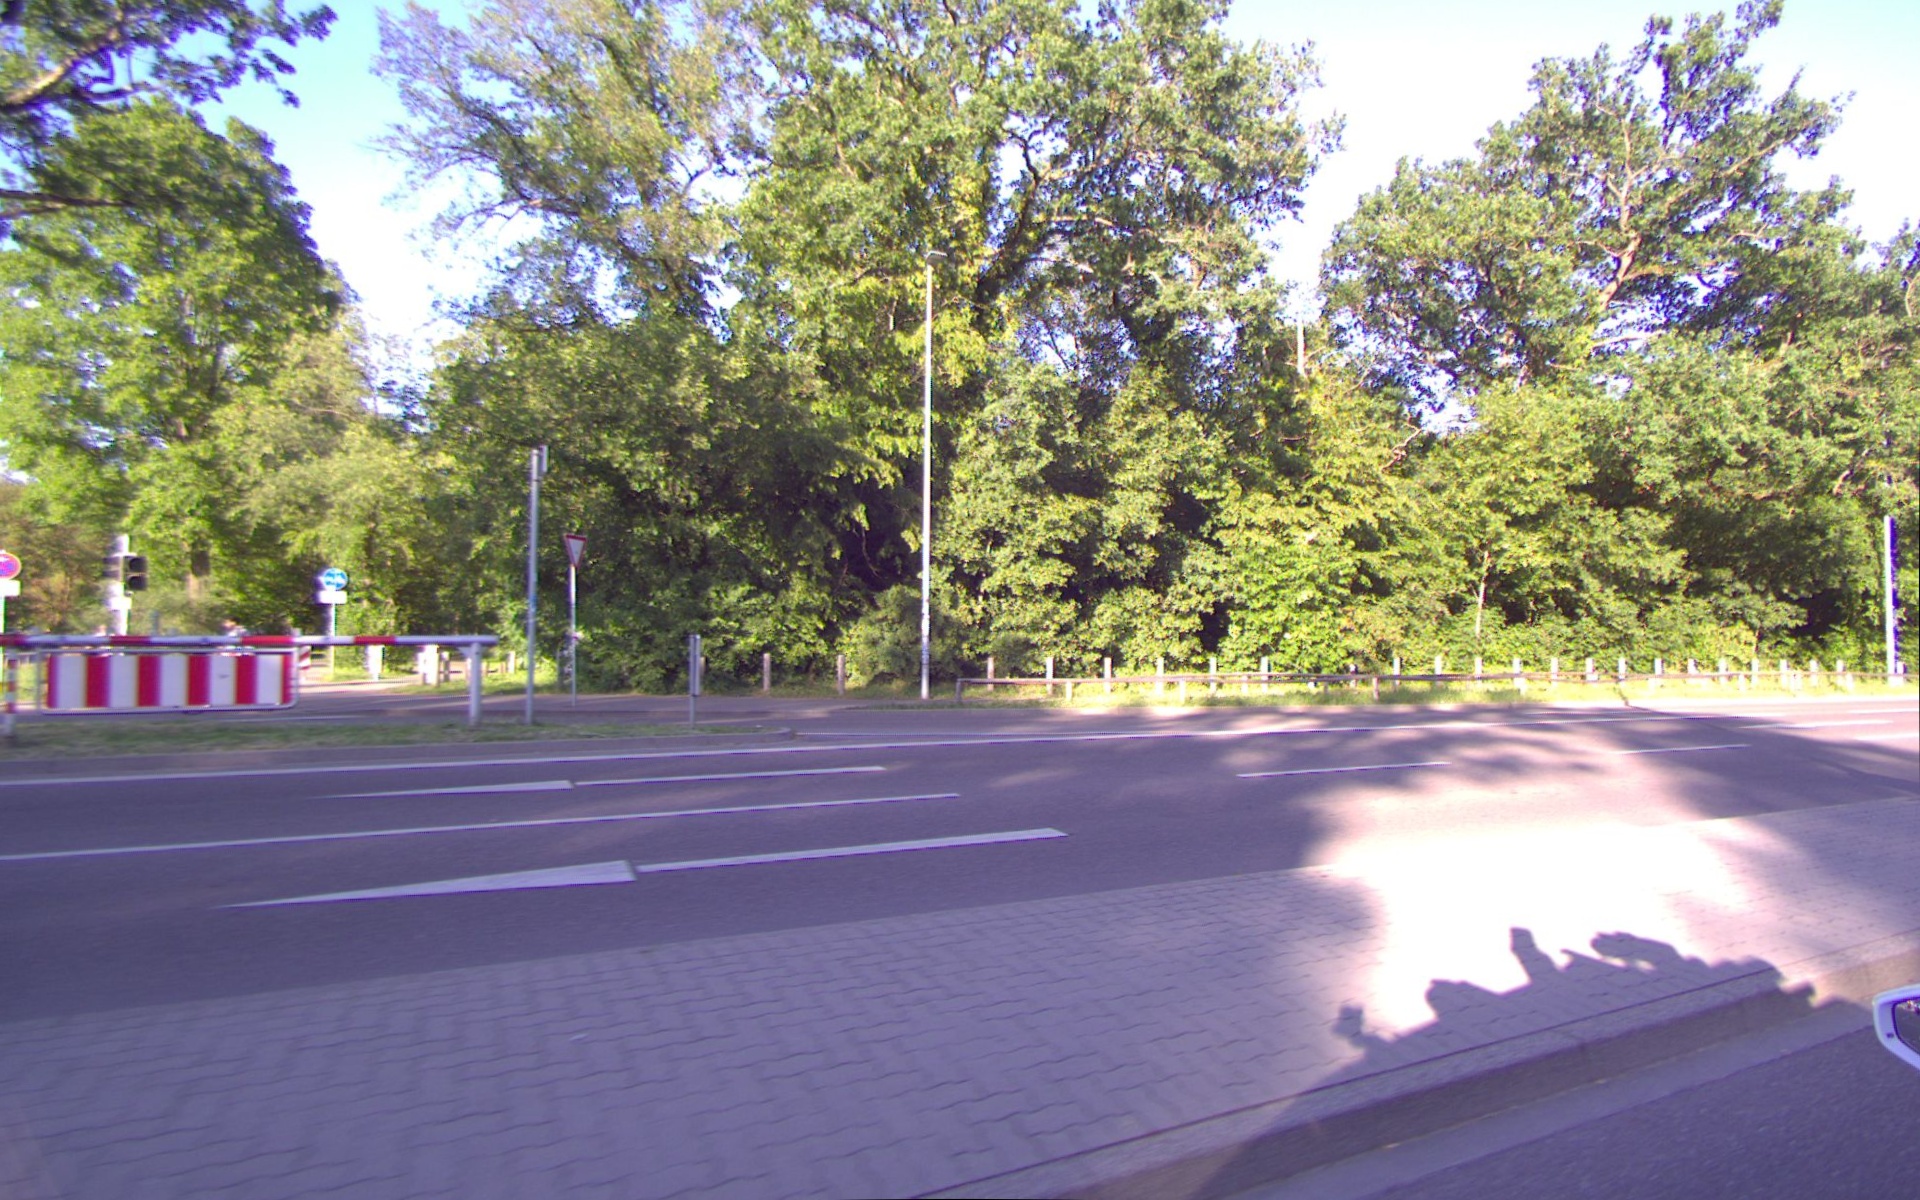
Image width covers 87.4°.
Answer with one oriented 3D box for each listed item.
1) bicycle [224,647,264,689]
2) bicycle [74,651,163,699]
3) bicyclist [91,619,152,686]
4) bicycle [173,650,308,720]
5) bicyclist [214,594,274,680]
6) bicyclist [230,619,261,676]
[{"bbox_3d":[-17.979,1.698,25.244,0.515,0.990,1.348,2,-1,-23],"label":"bicycle"},{"bbox_3d":[-19.338,1.715,23.119,0.770,0.990,1.589,1,-1,-5],"label":"bicycle"},{"bbox_3d":[-19.334,1.188,23.167,0.716,1.502,0.799,1,-1,-6],"label":"bicyclist"},{"bbox_3d":[-13.428,1.561,18.792,0.672,1.169,1.972,-1,-1,43],"label":"bicycle"},{"bbox_3d":[-13.394,0.677,18.795,0.556,1.572,0.795,-1,0,43],"label":"bicyclist"},{"bbox_3d":[-17.977,1.194,25.279,0.511,1.419,0.526,2,-1,-22],"label":"bicyclist"}]
